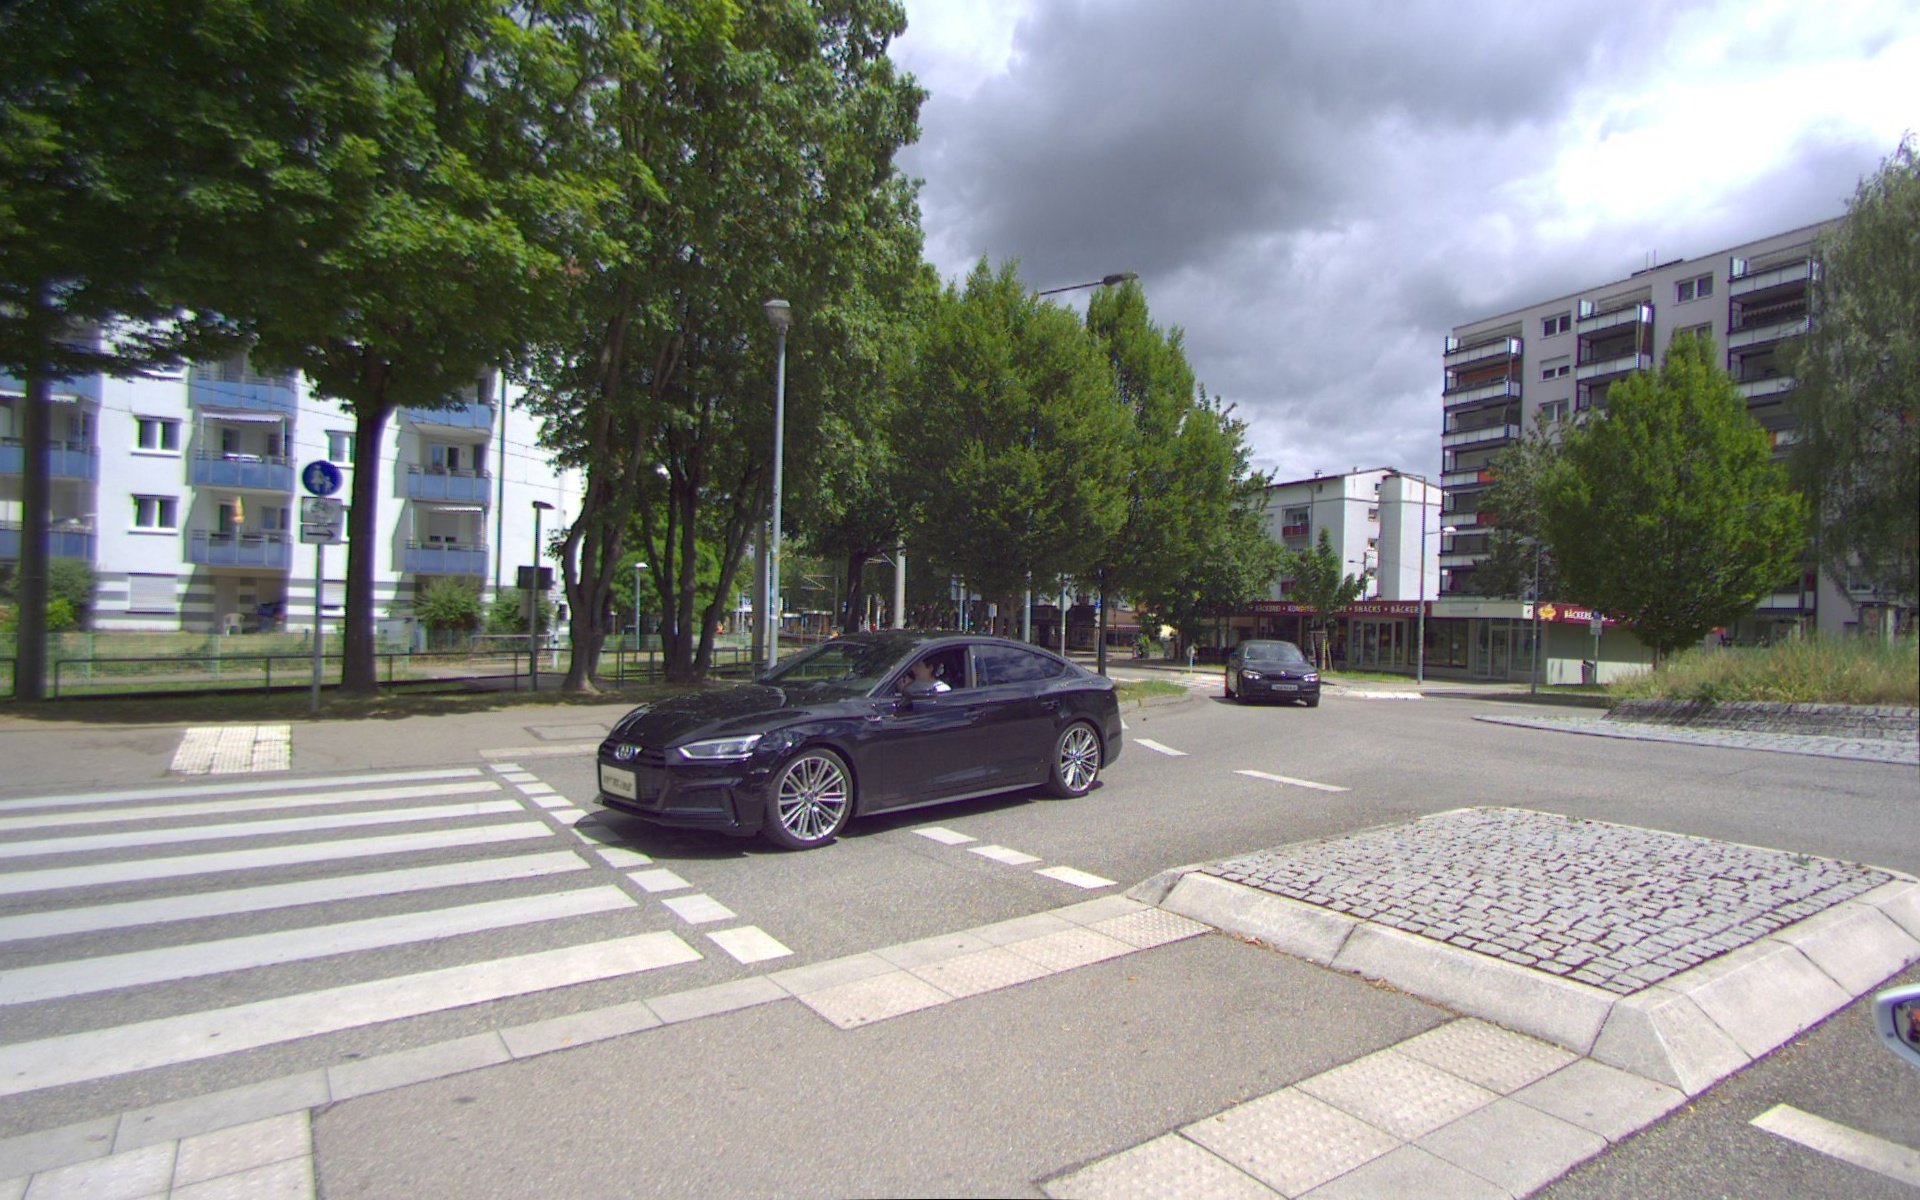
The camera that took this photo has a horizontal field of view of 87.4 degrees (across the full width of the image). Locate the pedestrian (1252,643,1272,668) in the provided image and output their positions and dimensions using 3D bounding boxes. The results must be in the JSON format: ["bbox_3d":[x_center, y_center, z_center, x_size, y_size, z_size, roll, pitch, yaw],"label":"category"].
[{"bbox_3d":[16.821,3.100,55.932,0.866,1.342,0.608,2,-2,-18],"label":"pedestrian"}]

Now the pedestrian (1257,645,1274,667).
[{"bbox_3d":[17.319,3.184,56.943,0.707,1.217,0.697,1,-2,-12],"label":"pedestrian"}]

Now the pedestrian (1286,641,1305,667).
[{"bbox_3d":[18.636,3.016,55.855,0.709,1.399,0.696,2,-2,-19],"label":"pedestrian"}]

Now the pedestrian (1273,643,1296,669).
[{"bbox_3d":[17.898,3.087,55.429,0.869,1.342,0.817,2,1,-26],"label":"pedestrian"}]

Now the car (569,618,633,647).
[{"bbox_3d":[-24.161,2.183,67.594,3.940,1.832,1.991,2,0,-21],"label":"car"}]

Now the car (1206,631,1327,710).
[{"bbox_3d":[7.057,1.560,23.554,1.822,1.474,4.390,2,0,5],"label":"car"}]

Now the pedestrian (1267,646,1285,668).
[{"bbox_3d":[17.926,3.206,56.984,0.707,1.217,0.697,1,-2,-12],"label":"pedestrian"}]

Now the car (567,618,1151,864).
[{"bbox_3d":[-0.510,0.900,8.055,1.799,1.402,4.590,0,-2,44],"label":"car"}]
